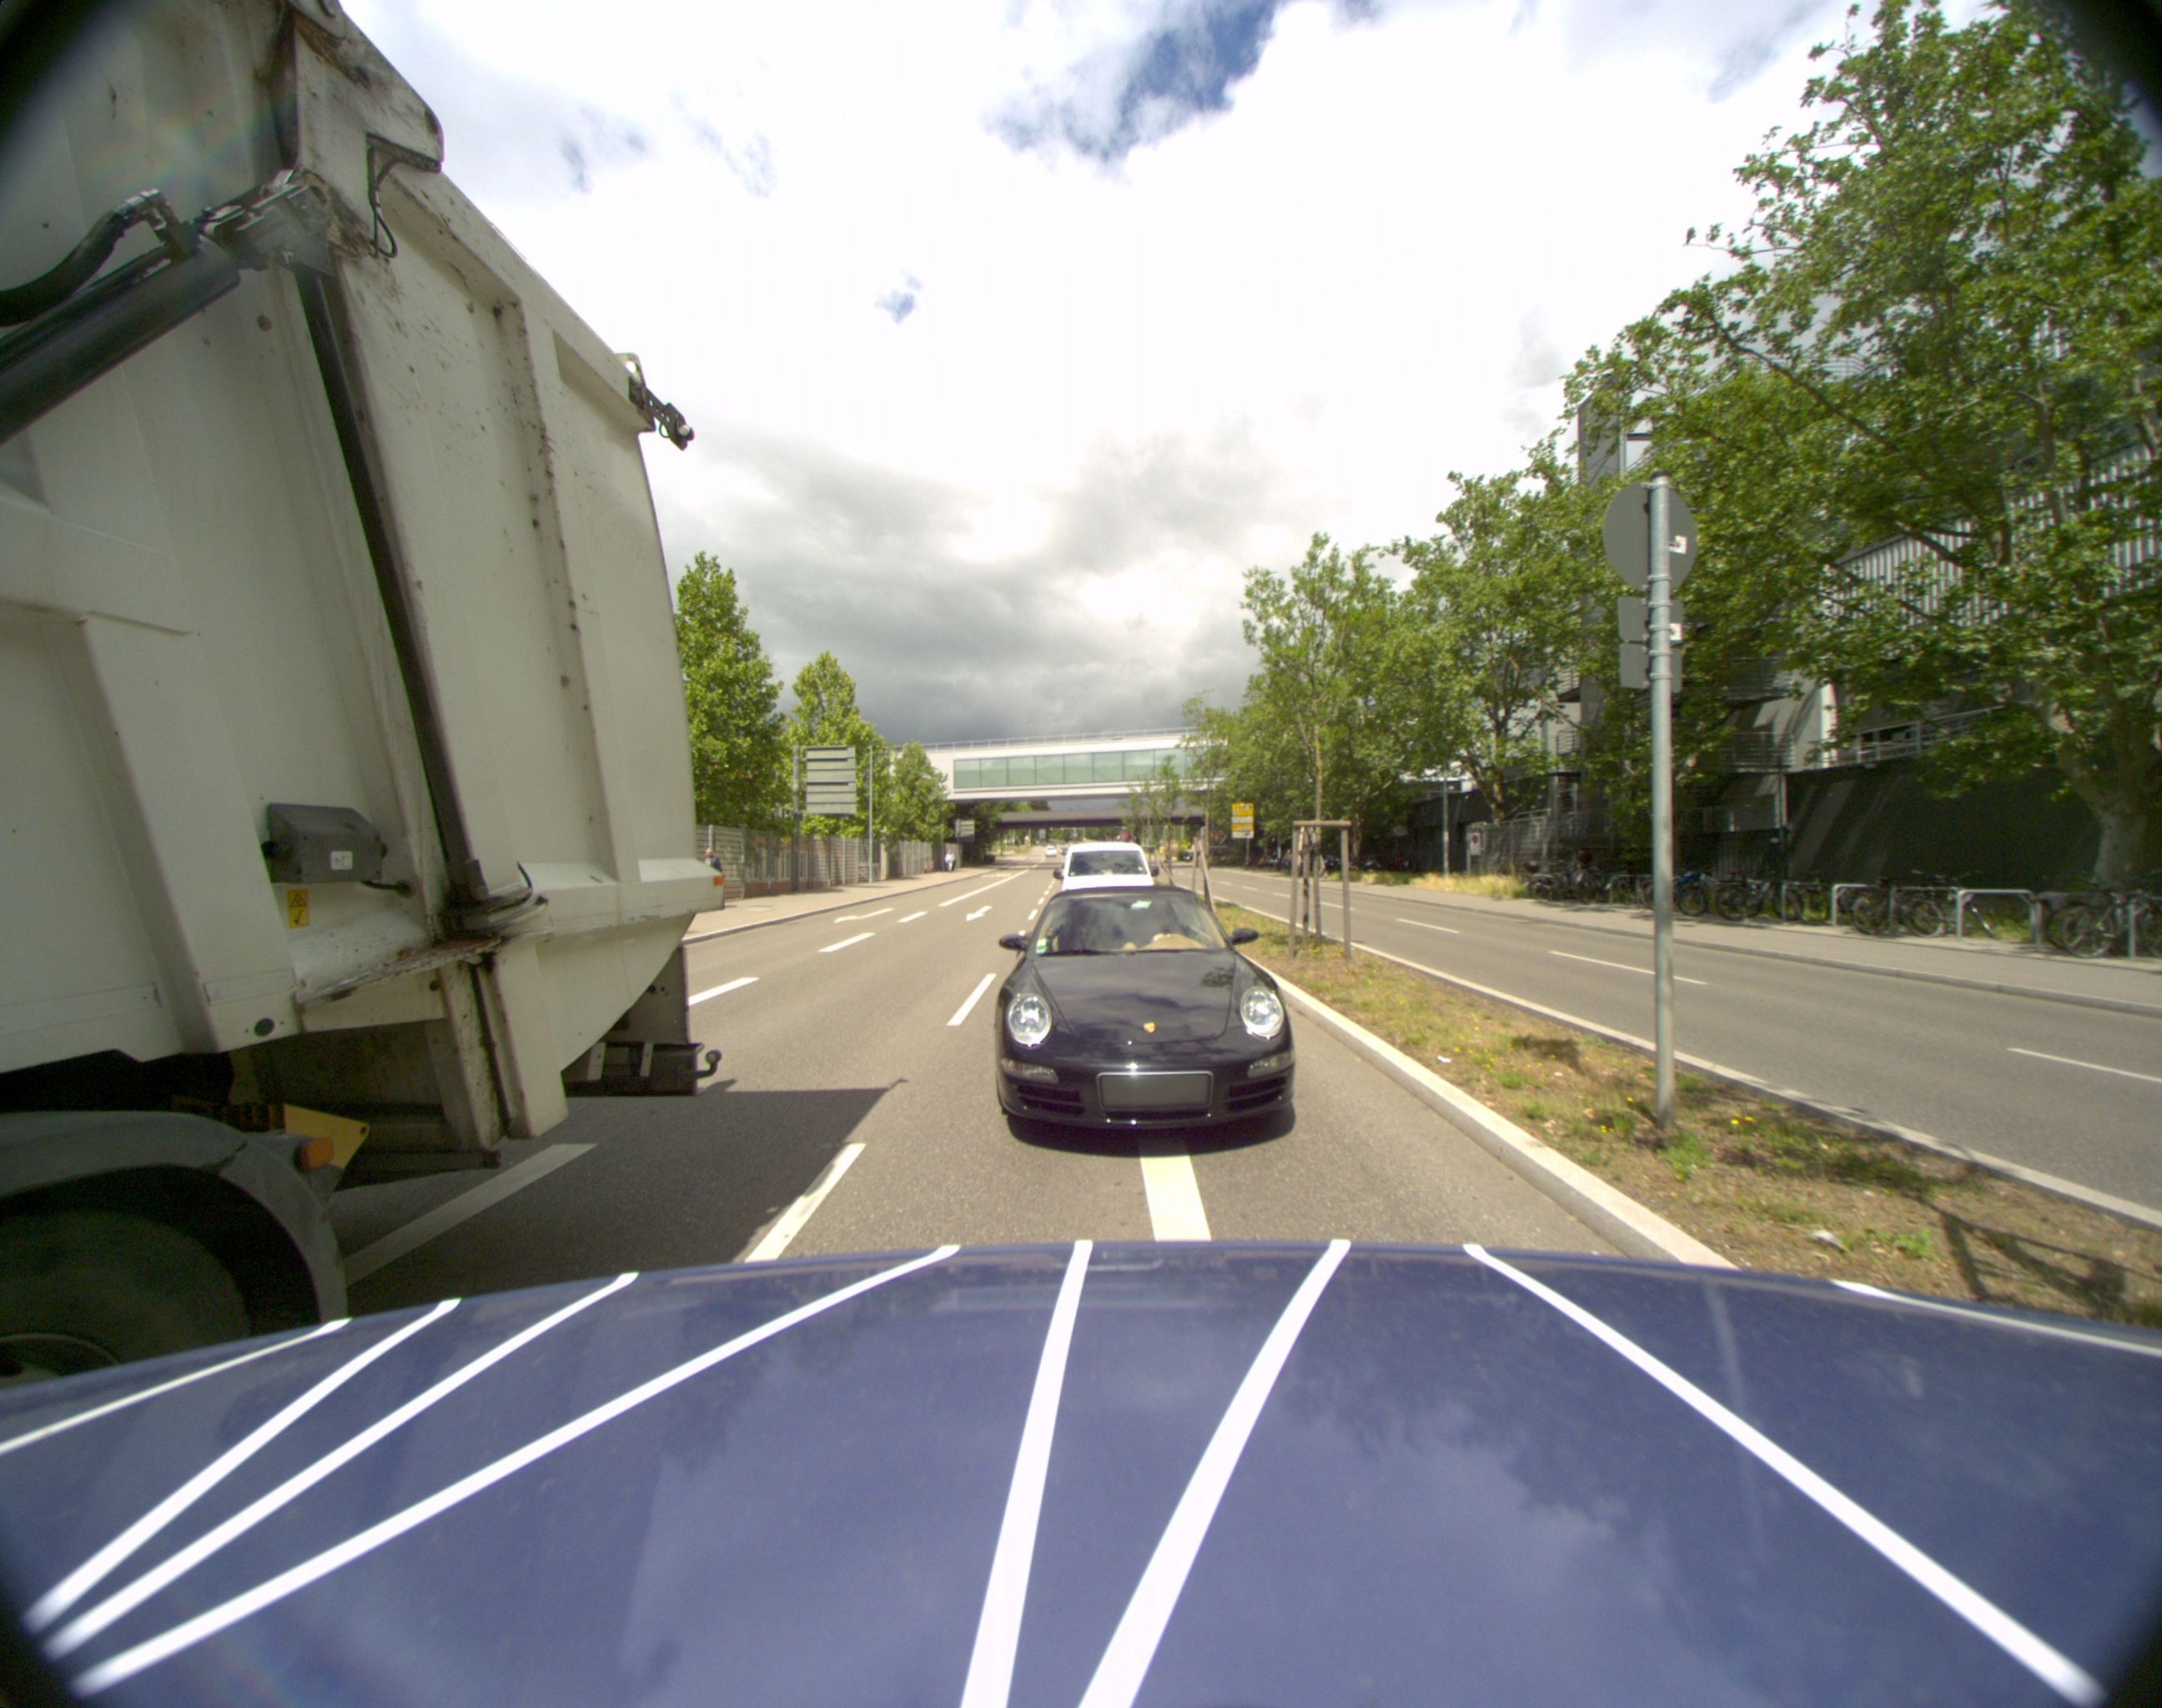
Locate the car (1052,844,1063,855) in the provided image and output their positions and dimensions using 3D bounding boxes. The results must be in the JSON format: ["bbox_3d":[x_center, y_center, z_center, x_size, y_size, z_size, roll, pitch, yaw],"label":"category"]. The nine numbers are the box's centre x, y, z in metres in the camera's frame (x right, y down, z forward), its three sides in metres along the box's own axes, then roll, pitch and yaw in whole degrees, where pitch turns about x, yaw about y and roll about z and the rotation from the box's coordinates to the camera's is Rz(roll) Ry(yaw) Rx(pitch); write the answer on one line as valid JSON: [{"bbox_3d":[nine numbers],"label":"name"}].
[{"bbox_3d":[-4.621,-0.957,151.259,1.925,2.082,4.657,-1,0,2],"label":"car"}]

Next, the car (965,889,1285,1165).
[{"bbox_3d":[0.265,1.032,6.030,1.710,1.280,3.806,-1,0,1],"label":"car"}]

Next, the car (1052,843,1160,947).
[{"bbox_3d":[0.477,0.718,15.843,1.862,1.800,4.906,-1,0,1],"label":"car"}]

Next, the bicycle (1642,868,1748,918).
[{"bbox_3d":[14.501,0.923,17.965,2.129,1.104,0.382,-1,1,3],"label":"bicycle"}]

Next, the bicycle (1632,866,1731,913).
[{"bbox_3d":[15.061,0.894,19.080,2.129,1.104,0.382,-1,1,3],"label":"bicycle"}]

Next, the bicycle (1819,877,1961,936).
[{"bbox_3d":[15.008,0.968,14.109,2.129,1.025,0.382,-1,1,3],"label":"bicycle"}]

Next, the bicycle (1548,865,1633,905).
[{"bbox_3d":[14.749,0.901,22.015,2.129,1.104,0.382,-1,1,3],"label":"bicycle"}]

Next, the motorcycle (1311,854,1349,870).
[{"bbox_3d":[15.629,0.518,47.711,2.133,0.963,0.534,-1,0,1],"label":"motorcycle"}]

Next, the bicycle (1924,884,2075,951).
[{"bbox_3d":[14.750,1.013,12.214,1.993,0.992,0.382,-1,1,-1],"label":"bicycle"}]

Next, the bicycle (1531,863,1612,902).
[{"bbox_3d":[14.745,0.865,22.856,2.129,1.104,0.382,-1,1,3],"label":"bicycle"}]

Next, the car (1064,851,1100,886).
[{"bbox_3d":[0.050,0.710,38.619,1.747,1.647,3.545,-1,0,0],"label":"car"}]

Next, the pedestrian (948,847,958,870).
[{"bbox_3d":[-11.005,0.376,65.281,0.739,1.901,0.658,-2,1,-1],"label":"pedestrian"}]

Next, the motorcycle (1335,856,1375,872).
[{"bbox_3d":[15.981,0.576,44.289,2.133,0.880,0.534,-1,0,1],"label":"motorcycle"}]

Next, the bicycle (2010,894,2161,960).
[{"bbox_3d":[14.953,1.071,11.234,1.993,0.885,0.382,-1,1,-1],"label":"bicycle"}]

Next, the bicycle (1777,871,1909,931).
[{"bbox_3d":[15.038,0.925,15.015,2.129,1.104,0.382,-1,1,3],"label":"bicycle"}]

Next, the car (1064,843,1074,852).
[{"bbox_3d":[-2.538,-1.457,162.807,1.862,1.800,4.357,-3,0,1],"label":"car"}]

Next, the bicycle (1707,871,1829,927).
[{"bbox_3d":[14.497,0.943,16.054,2.129,1.104,0.382,-1,1,3],"label":"bicycle"}]

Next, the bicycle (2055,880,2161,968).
[{"bbox_3d":[14.351,0.926,10.231,1.993,1.121,0.382,-1,1,-1],"label":"bicycle"}]

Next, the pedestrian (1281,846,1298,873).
[{"bbox_3d":[13.062,0.342,47.547,0.900,1.710,0.673,-1,1,1],"label":"pedestrian"}]

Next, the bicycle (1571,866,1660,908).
[{"bbox_3d":[14.819,0.914,21.092,2.129,1.104,0.382,-1,1,3],"label":"bicycle"}]

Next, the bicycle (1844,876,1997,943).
[{"bbox_3d":[14.575,0.956,13.215,2.129,1.089,0.382,-1,1,3],"label":"bicycle"}]

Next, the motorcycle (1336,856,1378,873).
[{"bbox_3d":[15.373,0.580,42.406,2.133,0.893,0.534,-1,0,1],"label":"motorcycle"}]

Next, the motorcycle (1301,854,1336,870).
[{"bbox_3d":[15.699,0.539,50.197,2.133,0.963,0.534,-1,0,1],"label":"motorcycle"}]

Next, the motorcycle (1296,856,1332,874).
[{"bbox_3d":[15.069,0.699,49.127,2.133,1.131,0.534,-1,0,1],"label":"motorcycle"}]

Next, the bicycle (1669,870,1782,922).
[{"bbox_3d":[14.476,0.931,17.078,2.129,1.104,0.382,-1,1,3],"label":"bicycle"}]
